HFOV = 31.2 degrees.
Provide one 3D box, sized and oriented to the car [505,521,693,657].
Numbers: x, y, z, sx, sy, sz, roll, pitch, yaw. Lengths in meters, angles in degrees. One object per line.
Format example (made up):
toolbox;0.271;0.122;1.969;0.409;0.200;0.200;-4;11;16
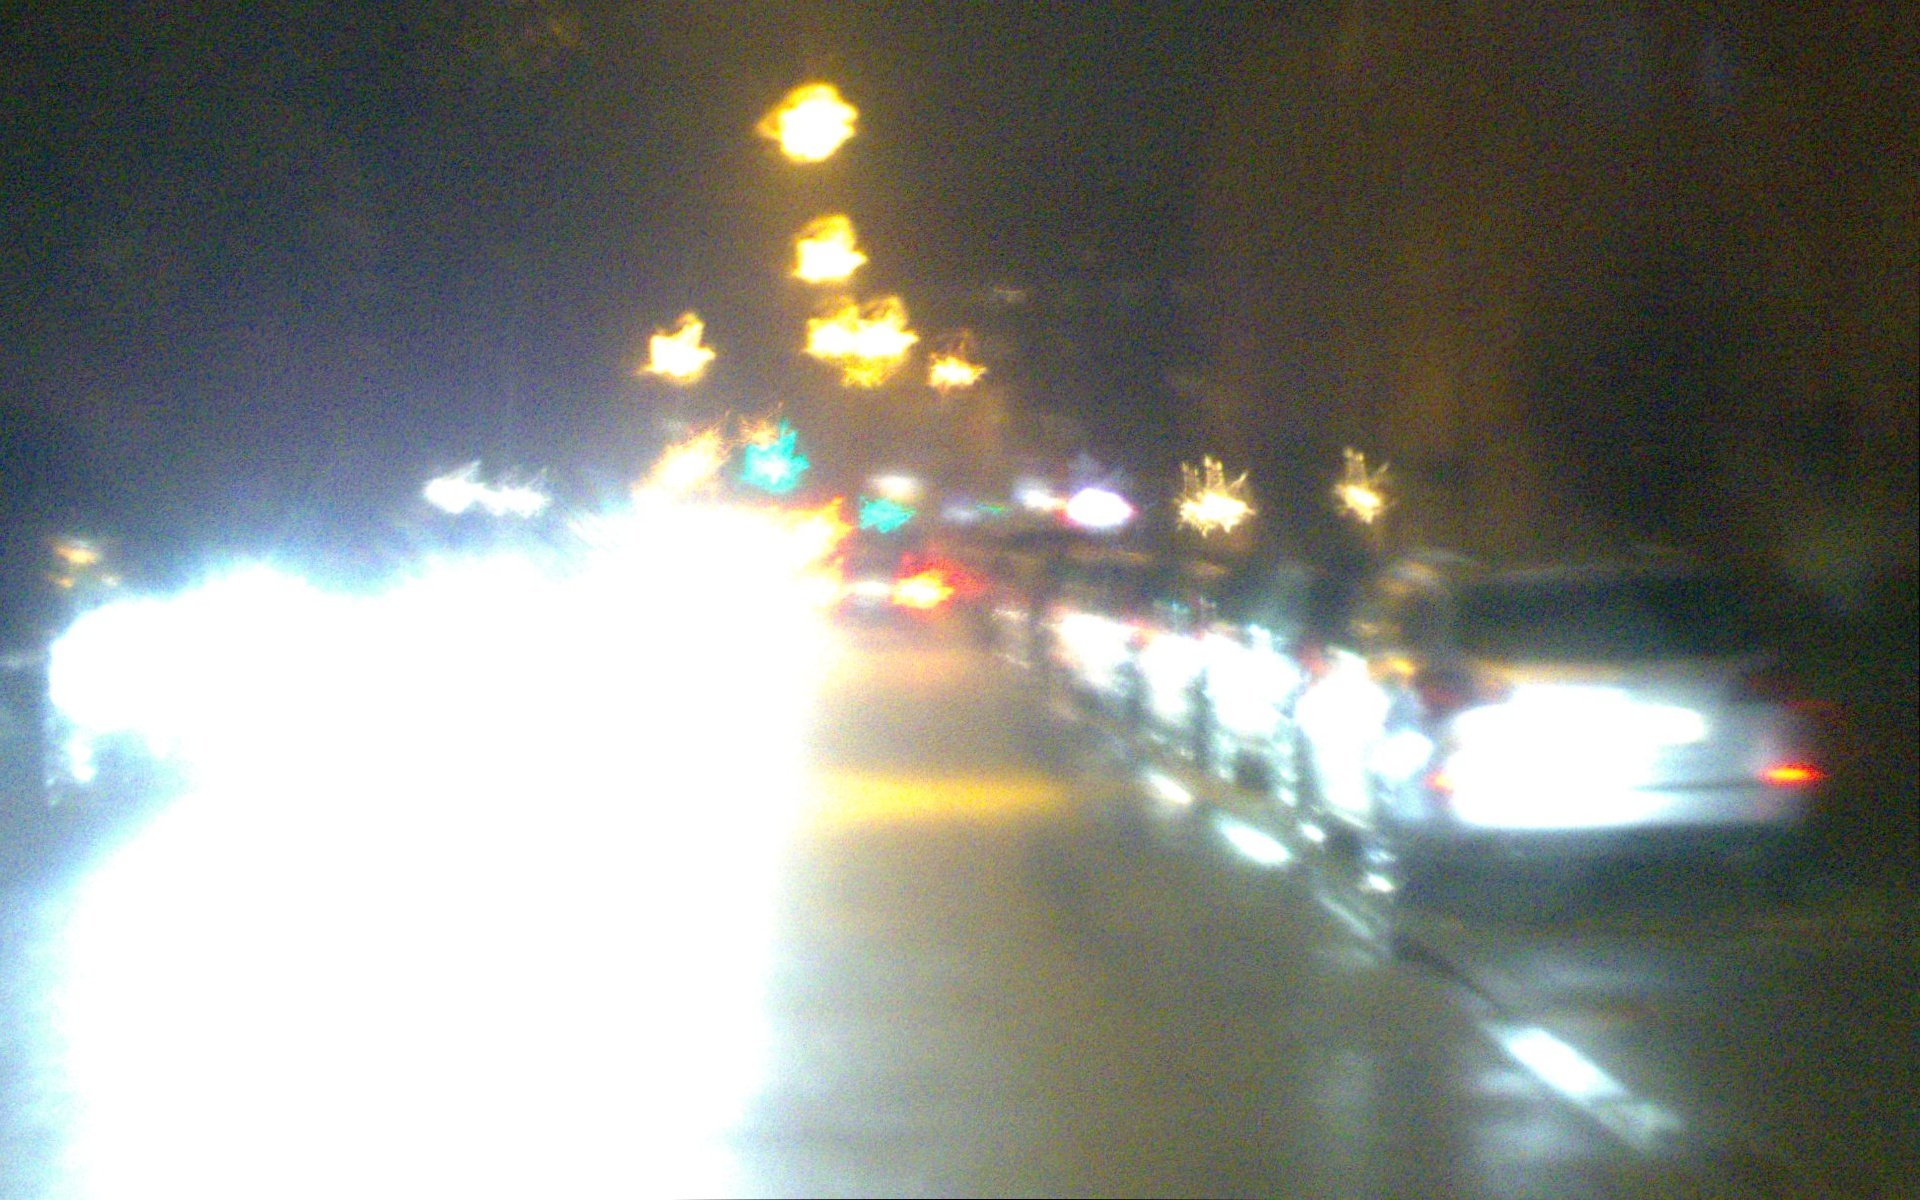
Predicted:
car;-4.091;-0.178;39.584;1.820;1.458;4.866;0;1;-2

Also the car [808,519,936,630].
car;-1.420;-0.451;56.440;1.993;1.678;4.001;-1;2;-1

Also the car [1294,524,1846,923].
car;2.599;0.433;15.663;1.628;1.461;4.510;-3;2;0

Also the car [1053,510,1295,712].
car;1.916;0.043;31.853;1.820;1.668;4.001;-3;2;-1

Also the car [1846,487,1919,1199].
car;2.899;0.568;4.861;1.881;1.567;4.589;-3;2;-2

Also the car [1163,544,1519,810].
car;2.251;0.400;21.179;1.603;1.383;3.793;-4;1;-1

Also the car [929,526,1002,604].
car;0.121;-0.836;81.001;1.535;1.704;3.804;-3;2;-1

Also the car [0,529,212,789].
car;-6.365;0.357;23.453;1.612;1.565;4.453;-4;1;-2

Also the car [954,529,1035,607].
car;0.728;-0.717;74.491;1.535;1.556;3.804;-3;2;-1

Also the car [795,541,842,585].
car;-5.901;-1.566;143.849;1.812;1.704;3.804;-3;2;-1

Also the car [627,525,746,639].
car;-4.433;-0.310;56.154;1.689;1.779;4.000;1;1;-1

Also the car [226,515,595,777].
car;-3.464;0.213;22.453;1.857;1.456;4.524;0;2;-2

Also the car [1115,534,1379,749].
car;2.062;0.250;25.535;1.495;1.383;3.748;-3;2;-1

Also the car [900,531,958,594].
car;-0.910;-1.097;99.914;1.535;1.704;3.804;-3;2;-1

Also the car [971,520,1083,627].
car;1.038;-0.453;54.522;1.535;1.556;3.804;-3;2;-1
